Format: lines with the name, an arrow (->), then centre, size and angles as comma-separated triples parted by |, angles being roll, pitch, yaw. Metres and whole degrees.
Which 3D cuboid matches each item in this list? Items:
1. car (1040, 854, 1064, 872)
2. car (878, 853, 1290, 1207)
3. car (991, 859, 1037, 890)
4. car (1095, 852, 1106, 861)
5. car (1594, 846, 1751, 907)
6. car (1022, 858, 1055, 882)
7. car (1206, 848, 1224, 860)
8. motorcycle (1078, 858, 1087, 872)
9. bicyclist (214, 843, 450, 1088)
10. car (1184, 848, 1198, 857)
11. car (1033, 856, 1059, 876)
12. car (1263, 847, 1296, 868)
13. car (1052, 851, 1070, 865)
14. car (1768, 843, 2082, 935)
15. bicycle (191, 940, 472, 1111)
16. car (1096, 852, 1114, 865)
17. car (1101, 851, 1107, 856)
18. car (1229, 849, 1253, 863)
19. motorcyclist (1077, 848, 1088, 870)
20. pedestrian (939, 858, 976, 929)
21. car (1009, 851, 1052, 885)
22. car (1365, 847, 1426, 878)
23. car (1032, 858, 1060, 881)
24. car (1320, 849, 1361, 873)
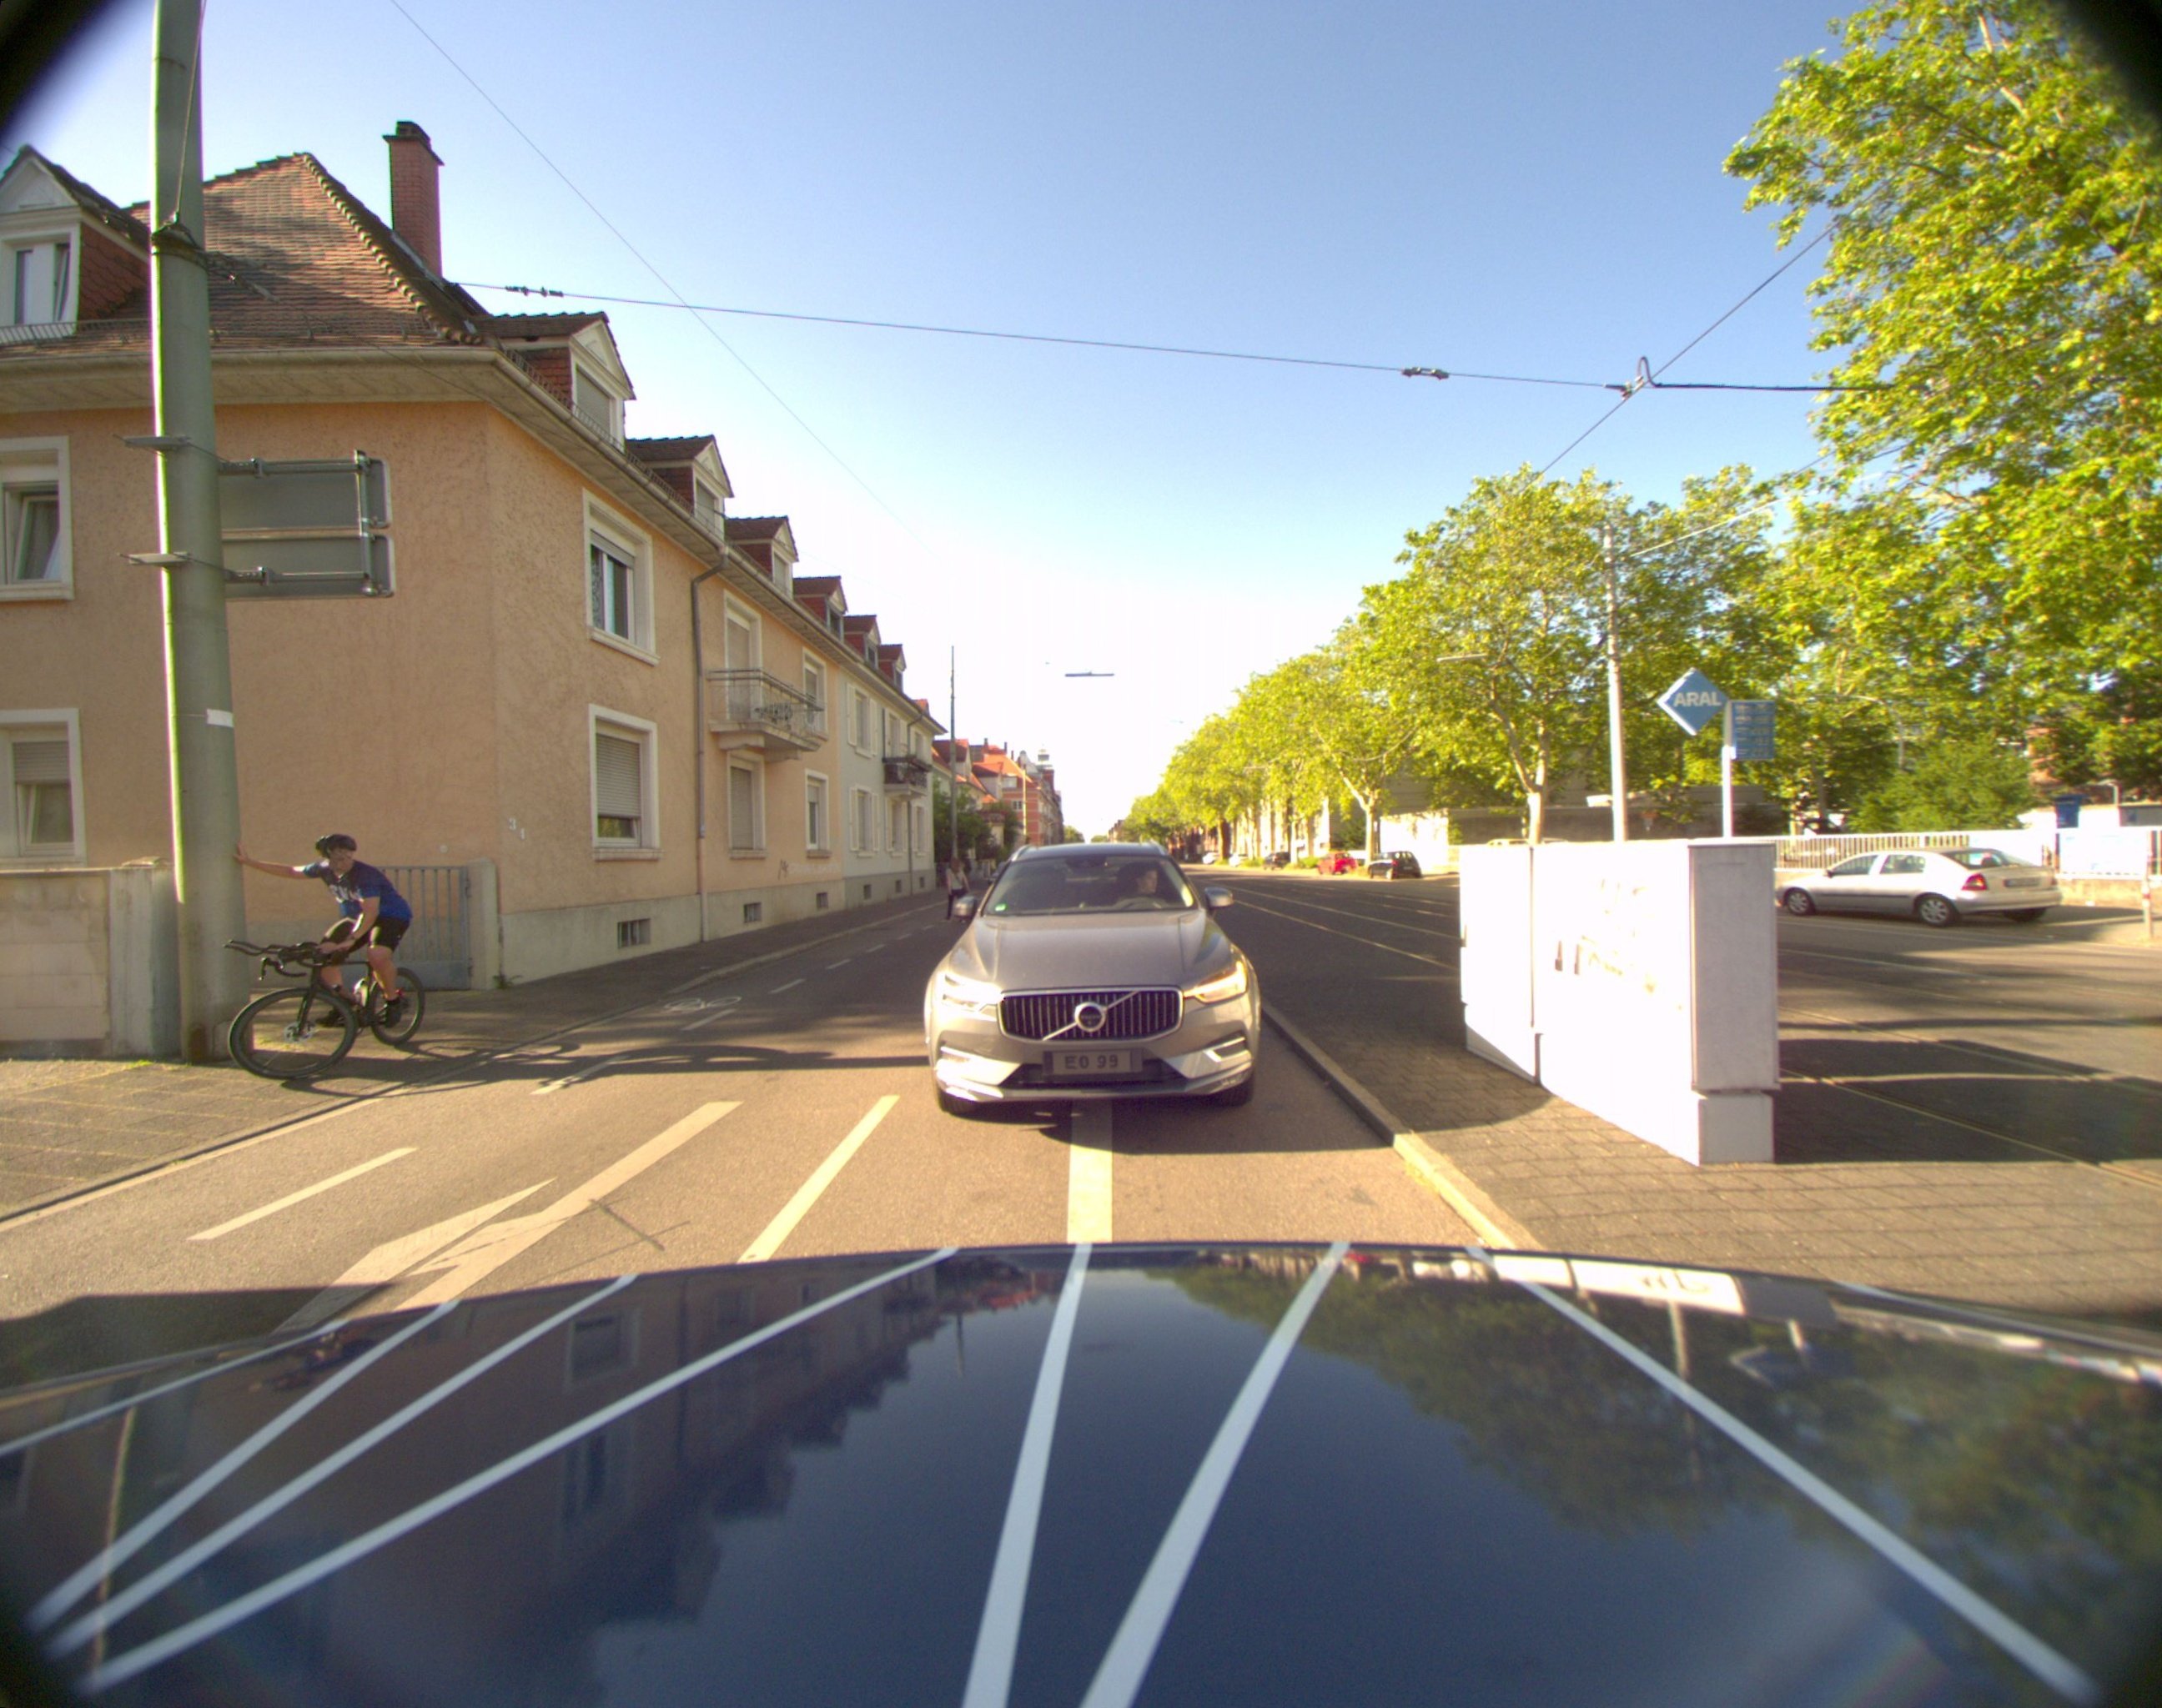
car -> -2.557, 0.766, 66.835 | 1.875, 1.477, 4.000 | -1, 0, 1
car -> 0.044, 0.850, 5.807 | 1.940, 1.650, 4.321 | -1, 0, 1
car -> -3.207, 0.963, 37.032 | 1.647, 1.357, 3.868 | -1, 0, 4
car -> 3.698, 0.492, 147.127 | 1.998, 1.543, 4.000 | -1, 0, 1
car -> 16.434, 0.574, 21.345 | 1.692, 1.455, 3.519 | -4, 0, 2
car -> -2.679, 0.990, 48.310 | 1.785, 1.346, 4.000 | -1, 0, 1
car -> 17.739, -0.012, 100.677 | 1.802, 1.504, 4.000 | -1, 0, 1
motorcycle -> 0.152, 0.939, 65.443 | 0.792, 1.095, 2.519 | 0, 0, 1
bicyclist -> -6.145, 0.861, 6.297 | 1.076, 1.854, 0.846 | 2, 1, 1
car -> 18.203, -0.221, 125.634 | 1.802, 1.504, 4.000 | -1, 0, 1
car -> -2.747, 0.944, 60.682 | 1.785, 1.468, 4.000 | -1, 0, 1
car -> 17.200, 0.285, 66.047 | 1.802, 1.652, 4.000 | -1, 0, 1
car -> -2.198, 0.449, 85.497 | 1.875, 1.477, 4.000 | -1, 0, 1
car -> 16.248, 0.596, 14.997 | 1.795, 1.455, 3.966 | -4, 0, 2
bicycle -> -5.940, 1.301, 6.182 | 0.572, 0.986, 1.698 | 2, 0, 1
car -> 2.909, 0.545, 92.846 | 1.998, 1.543, 4.000 | -1, 0, 1
car -> 7.789, -0.053, 259.271 | 1.998, 1.652, 4.000 | -1, 0, 1
car -> 17.551, 0.220, 83.432 | 1.802, 1.489, 4.000 | -1, 0, 1
motorcyclist -> 0.132, 0.391, 65.427 | 0.827, 1.832, 1.159 | -2, 1, 1
pedestrian -> -3.031, 0.941, 18.737 | 0.695, 1.652, 1.098 | -2, 1, -2
car -> -2.785, 0.715, 42.891 | 1.751, 1.767, 5.351 | -1, 0, 3
car -> 16.886, 0.421, 40.985 | 1.826, 1.521, 3.653 | -2, 0, 1
car -> -2.462, 1.084, 54.445 | 1.785, 1.468, 4.000 | -1, 0, 1
car -> 16.947, 0.433, 49.755 | 1.641, 1.499, 3.046 | -1, 0, 1
